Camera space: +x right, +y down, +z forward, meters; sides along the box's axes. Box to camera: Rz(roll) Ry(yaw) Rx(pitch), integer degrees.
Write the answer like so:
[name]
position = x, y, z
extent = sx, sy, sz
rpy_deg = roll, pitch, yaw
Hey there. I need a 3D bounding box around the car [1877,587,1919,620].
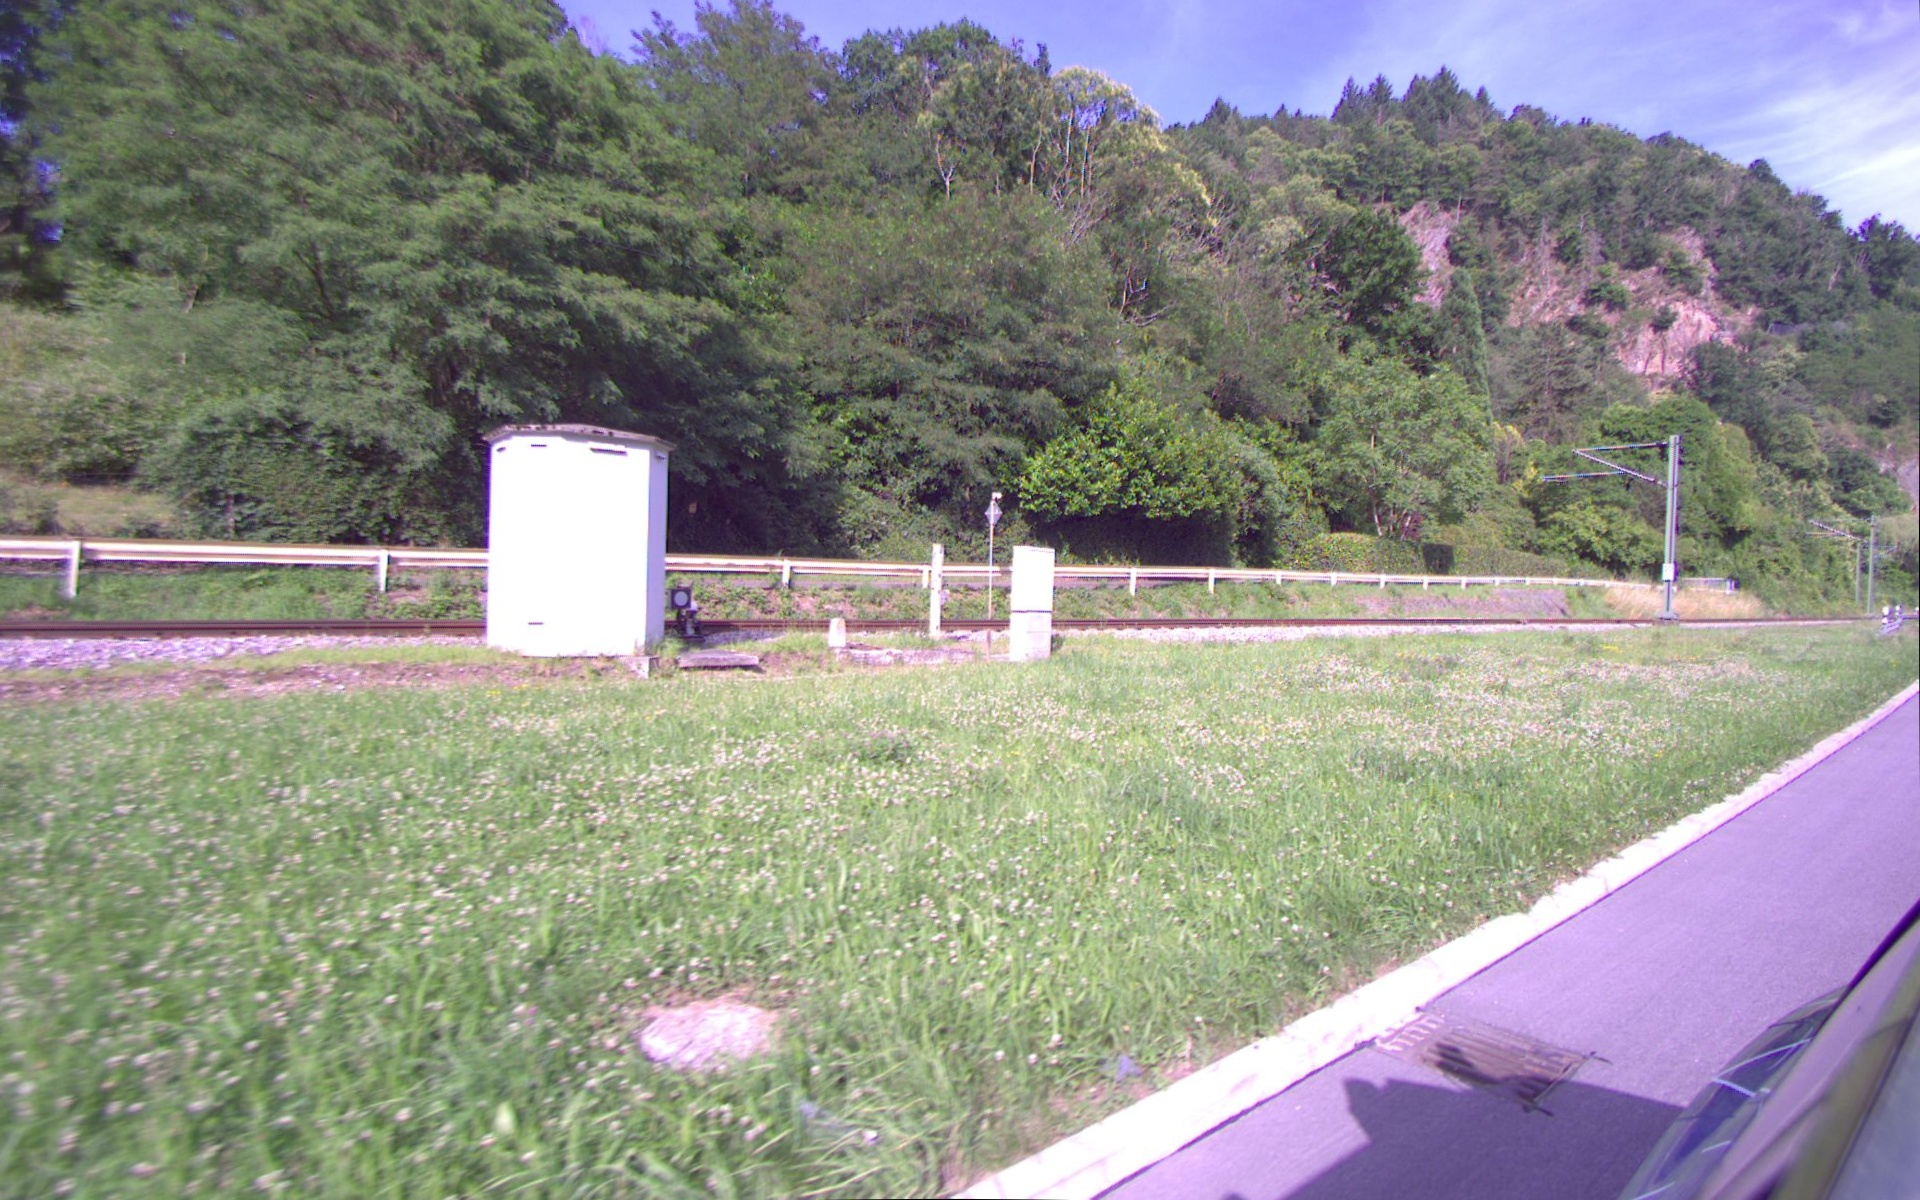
[car]
position = 63.812, 0.223, 68.649
extent = 3.932, 2.038, 1.997
rpy_deg = 0, 3, -43
